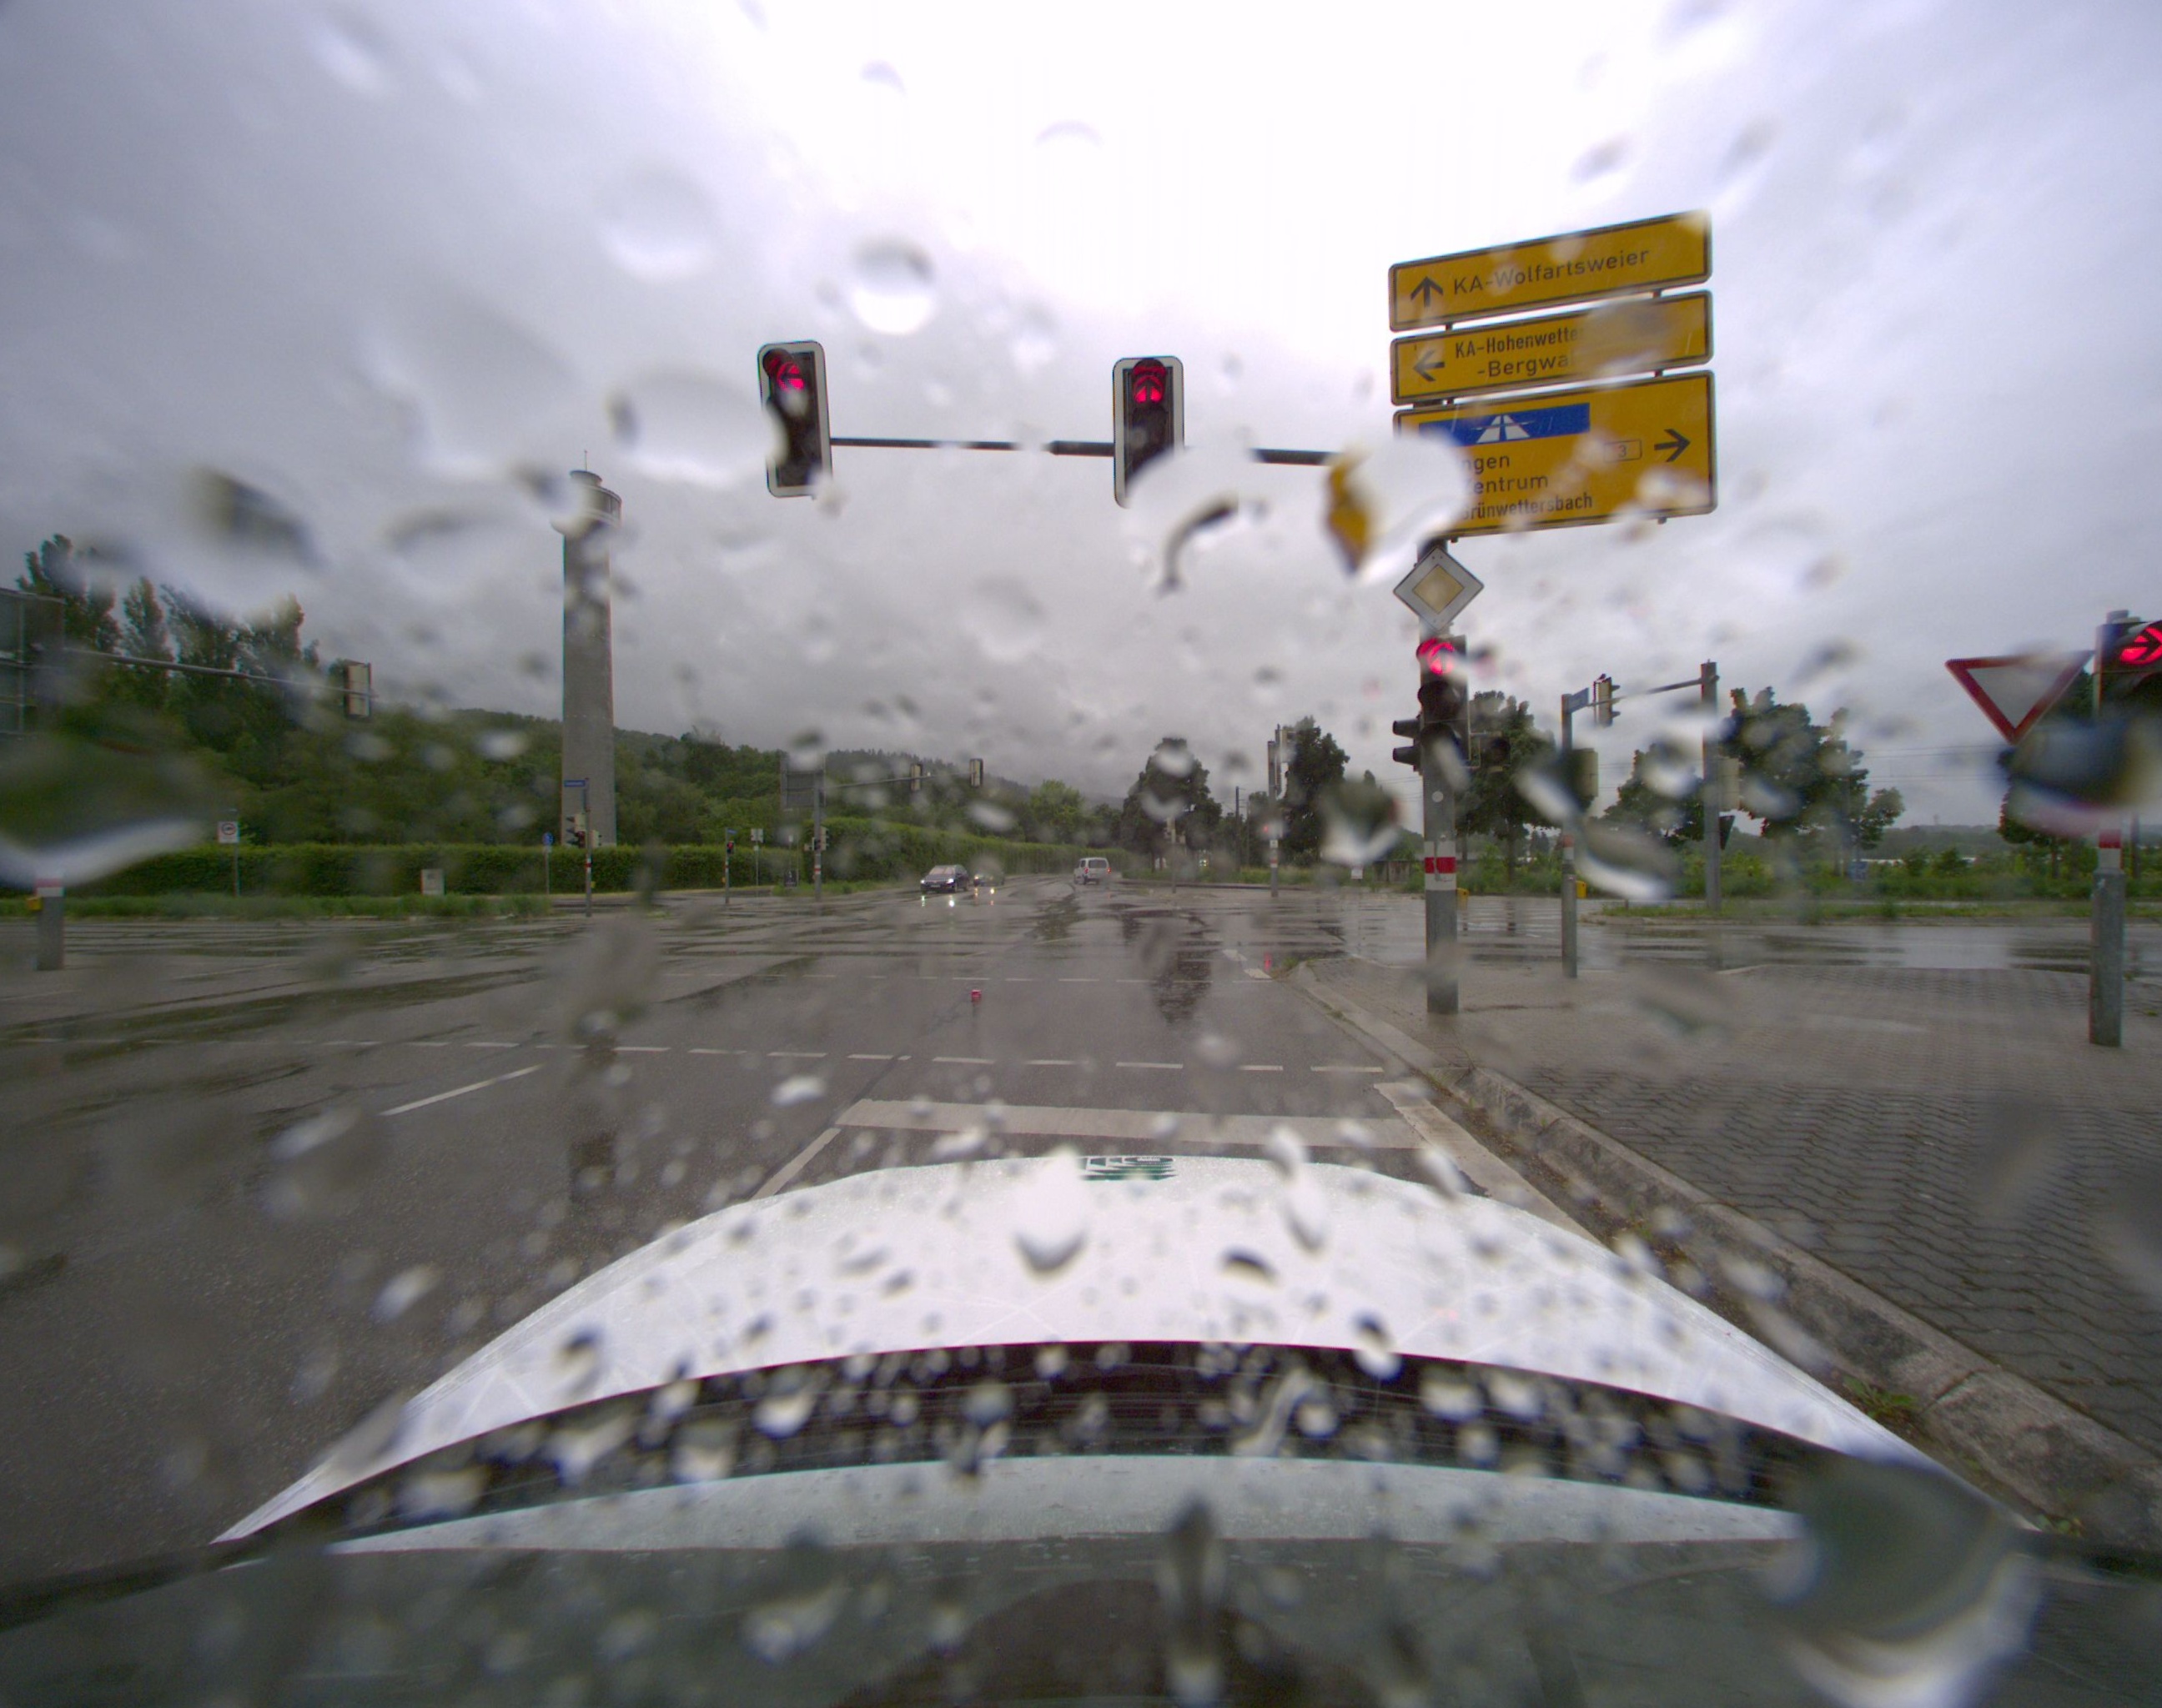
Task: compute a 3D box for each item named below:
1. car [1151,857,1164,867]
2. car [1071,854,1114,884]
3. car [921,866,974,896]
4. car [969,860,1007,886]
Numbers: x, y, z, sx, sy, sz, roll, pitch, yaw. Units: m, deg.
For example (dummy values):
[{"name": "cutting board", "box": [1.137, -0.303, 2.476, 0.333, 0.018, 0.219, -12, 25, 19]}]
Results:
[{"name": "car", "box": [15.624, 1.556, 165.889, 1.917, 1.890, 4.079, -1, 0, 16]}, {"name": "car", "box": [0.734, 1.002, 56.134, 1.956, 1.904, 4.101, -1, 0, -14]}, {"name": "car", "box": [-7.144, 1.397, 43.867, 1.700, 1.466, 4.459, -1, 0, 5]}, {"name": "car", "box": [-6.449, 1.291, 56.904, 2.029, 1.708, 4.067, -1, 0, 2]}]
